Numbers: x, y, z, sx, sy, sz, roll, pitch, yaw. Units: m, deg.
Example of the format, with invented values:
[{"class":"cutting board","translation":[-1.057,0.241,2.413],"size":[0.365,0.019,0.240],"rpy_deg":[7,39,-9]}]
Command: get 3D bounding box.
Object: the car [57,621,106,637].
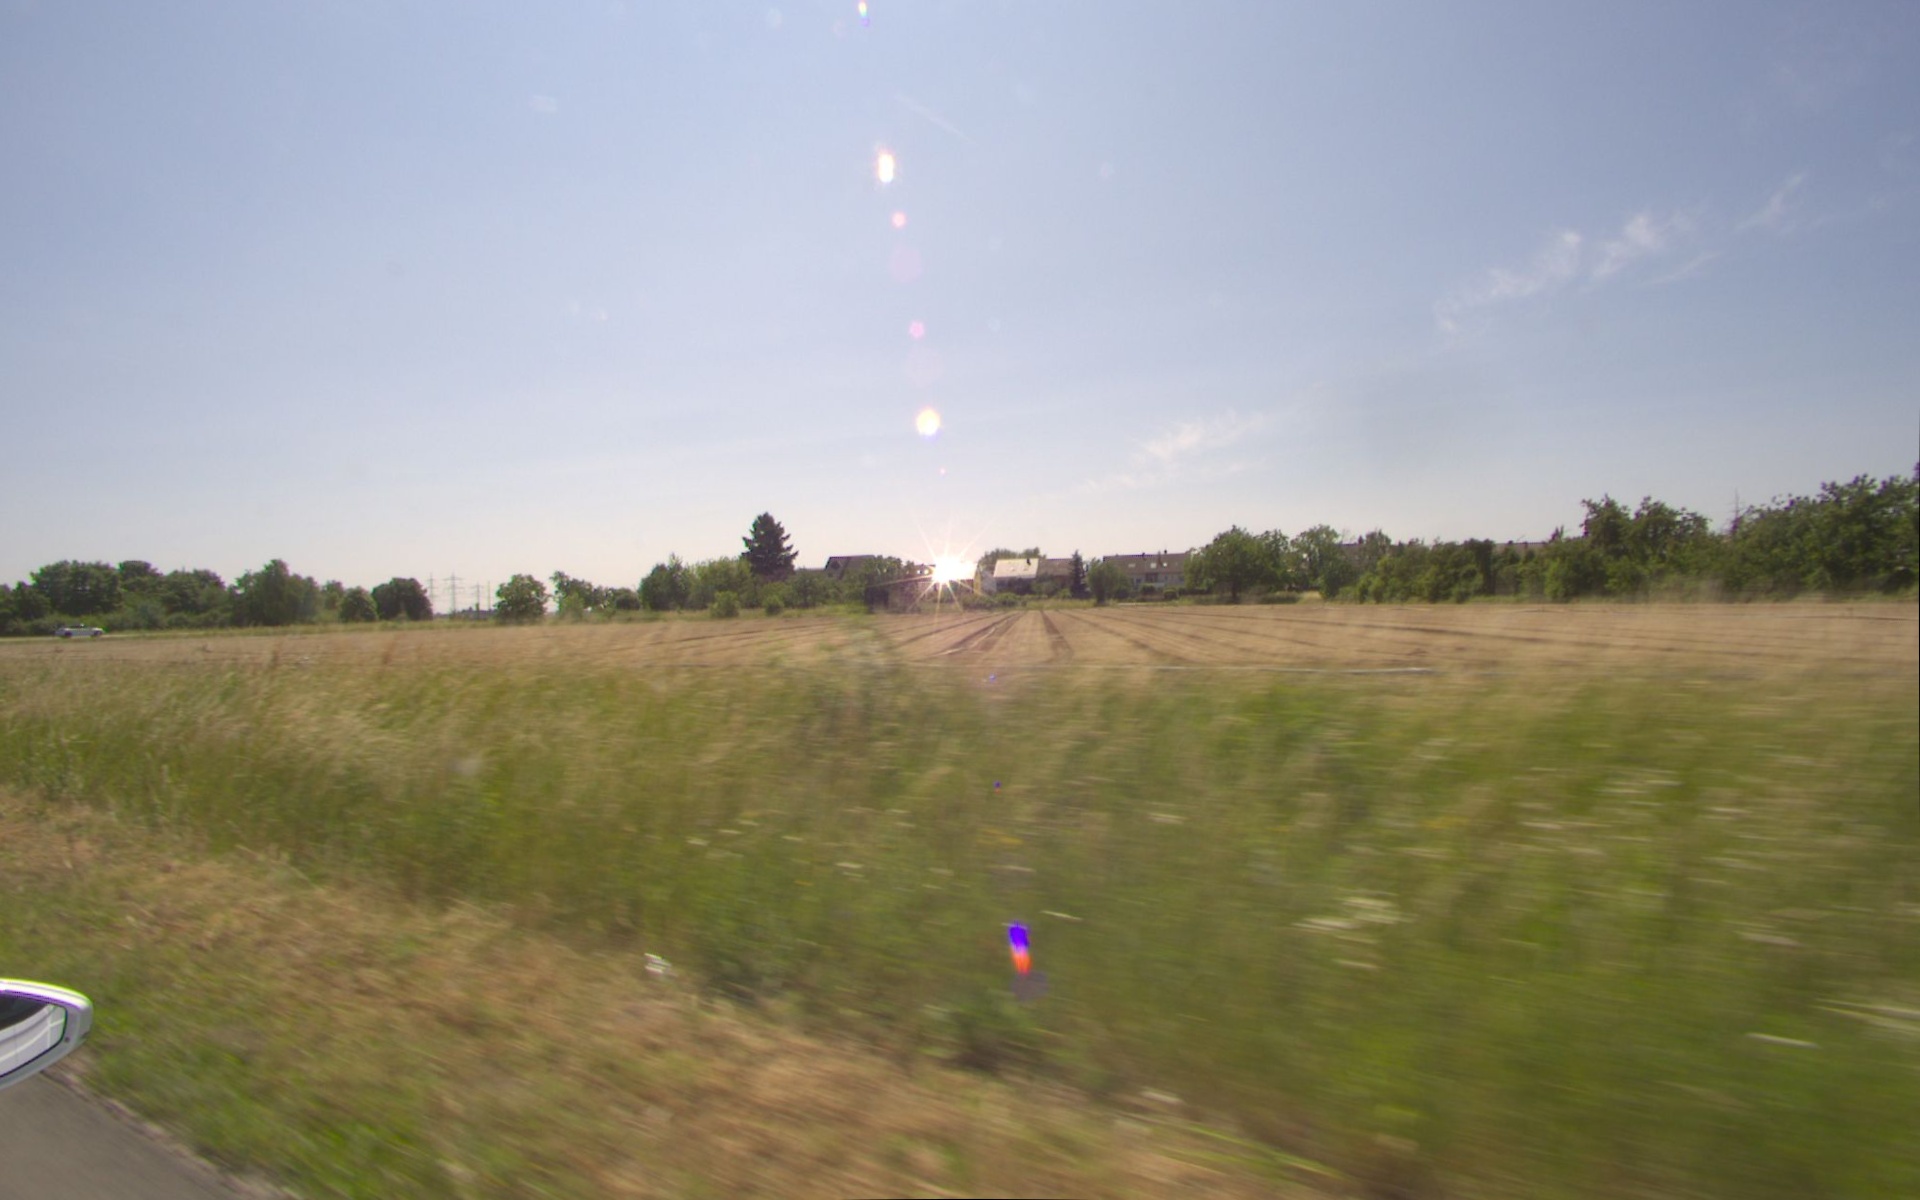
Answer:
[{"class":"car","translation":[-96.996,3.155,110.596],"size":[3.961,1.645,1.628],"rpy_deg":[-1,0,-45]}]
